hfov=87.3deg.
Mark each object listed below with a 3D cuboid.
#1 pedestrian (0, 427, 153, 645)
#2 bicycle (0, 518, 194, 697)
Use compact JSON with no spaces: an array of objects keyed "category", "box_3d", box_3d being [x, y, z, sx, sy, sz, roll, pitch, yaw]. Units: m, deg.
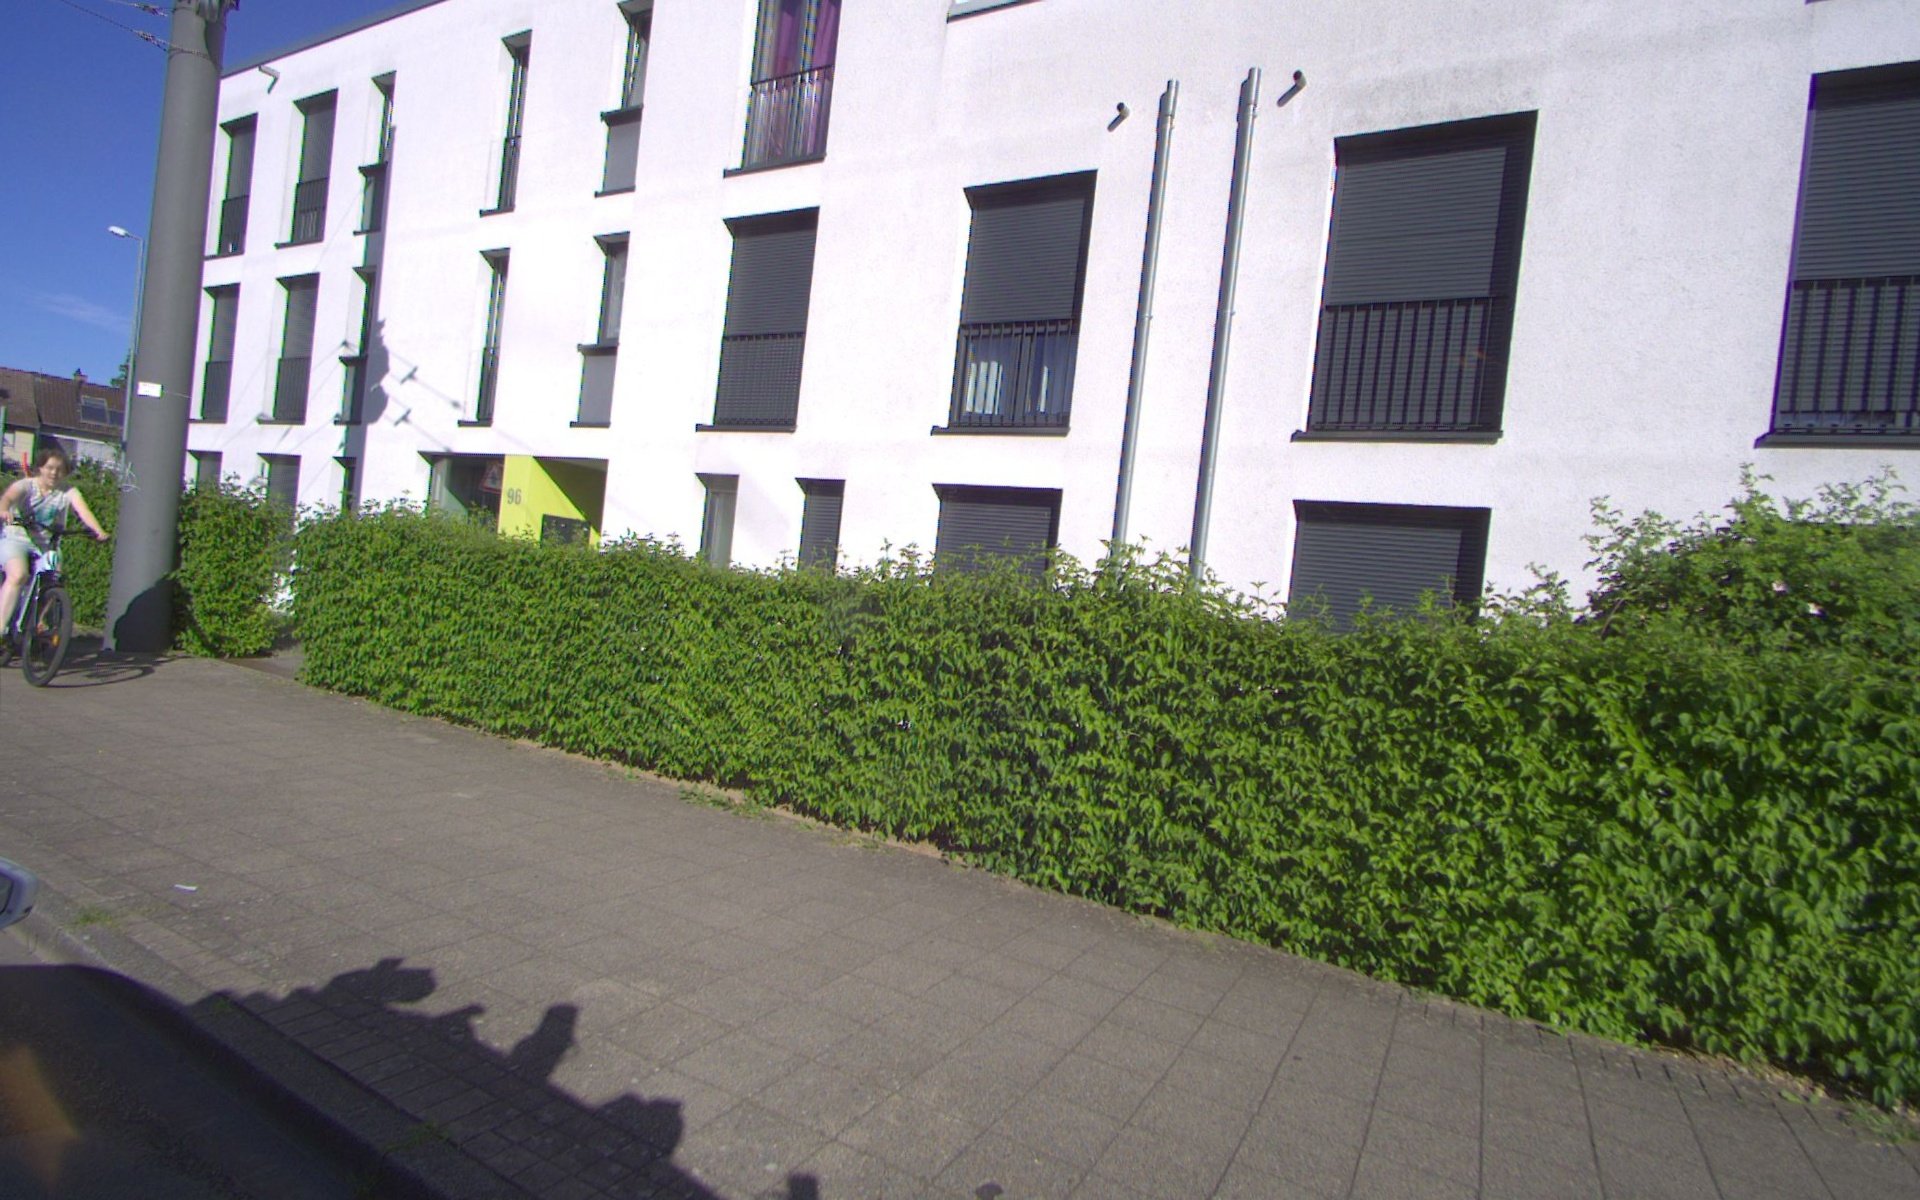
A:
[{"category":"pedestrian","box_3d":[-7.313,-0.499,8.117,0.840,1.614,0.912,7,1,29]},{"category":"bicycle","box_3d":[-7.624,-0.024,8.271,3.072,1.188,0.930,6,1,30]}]
